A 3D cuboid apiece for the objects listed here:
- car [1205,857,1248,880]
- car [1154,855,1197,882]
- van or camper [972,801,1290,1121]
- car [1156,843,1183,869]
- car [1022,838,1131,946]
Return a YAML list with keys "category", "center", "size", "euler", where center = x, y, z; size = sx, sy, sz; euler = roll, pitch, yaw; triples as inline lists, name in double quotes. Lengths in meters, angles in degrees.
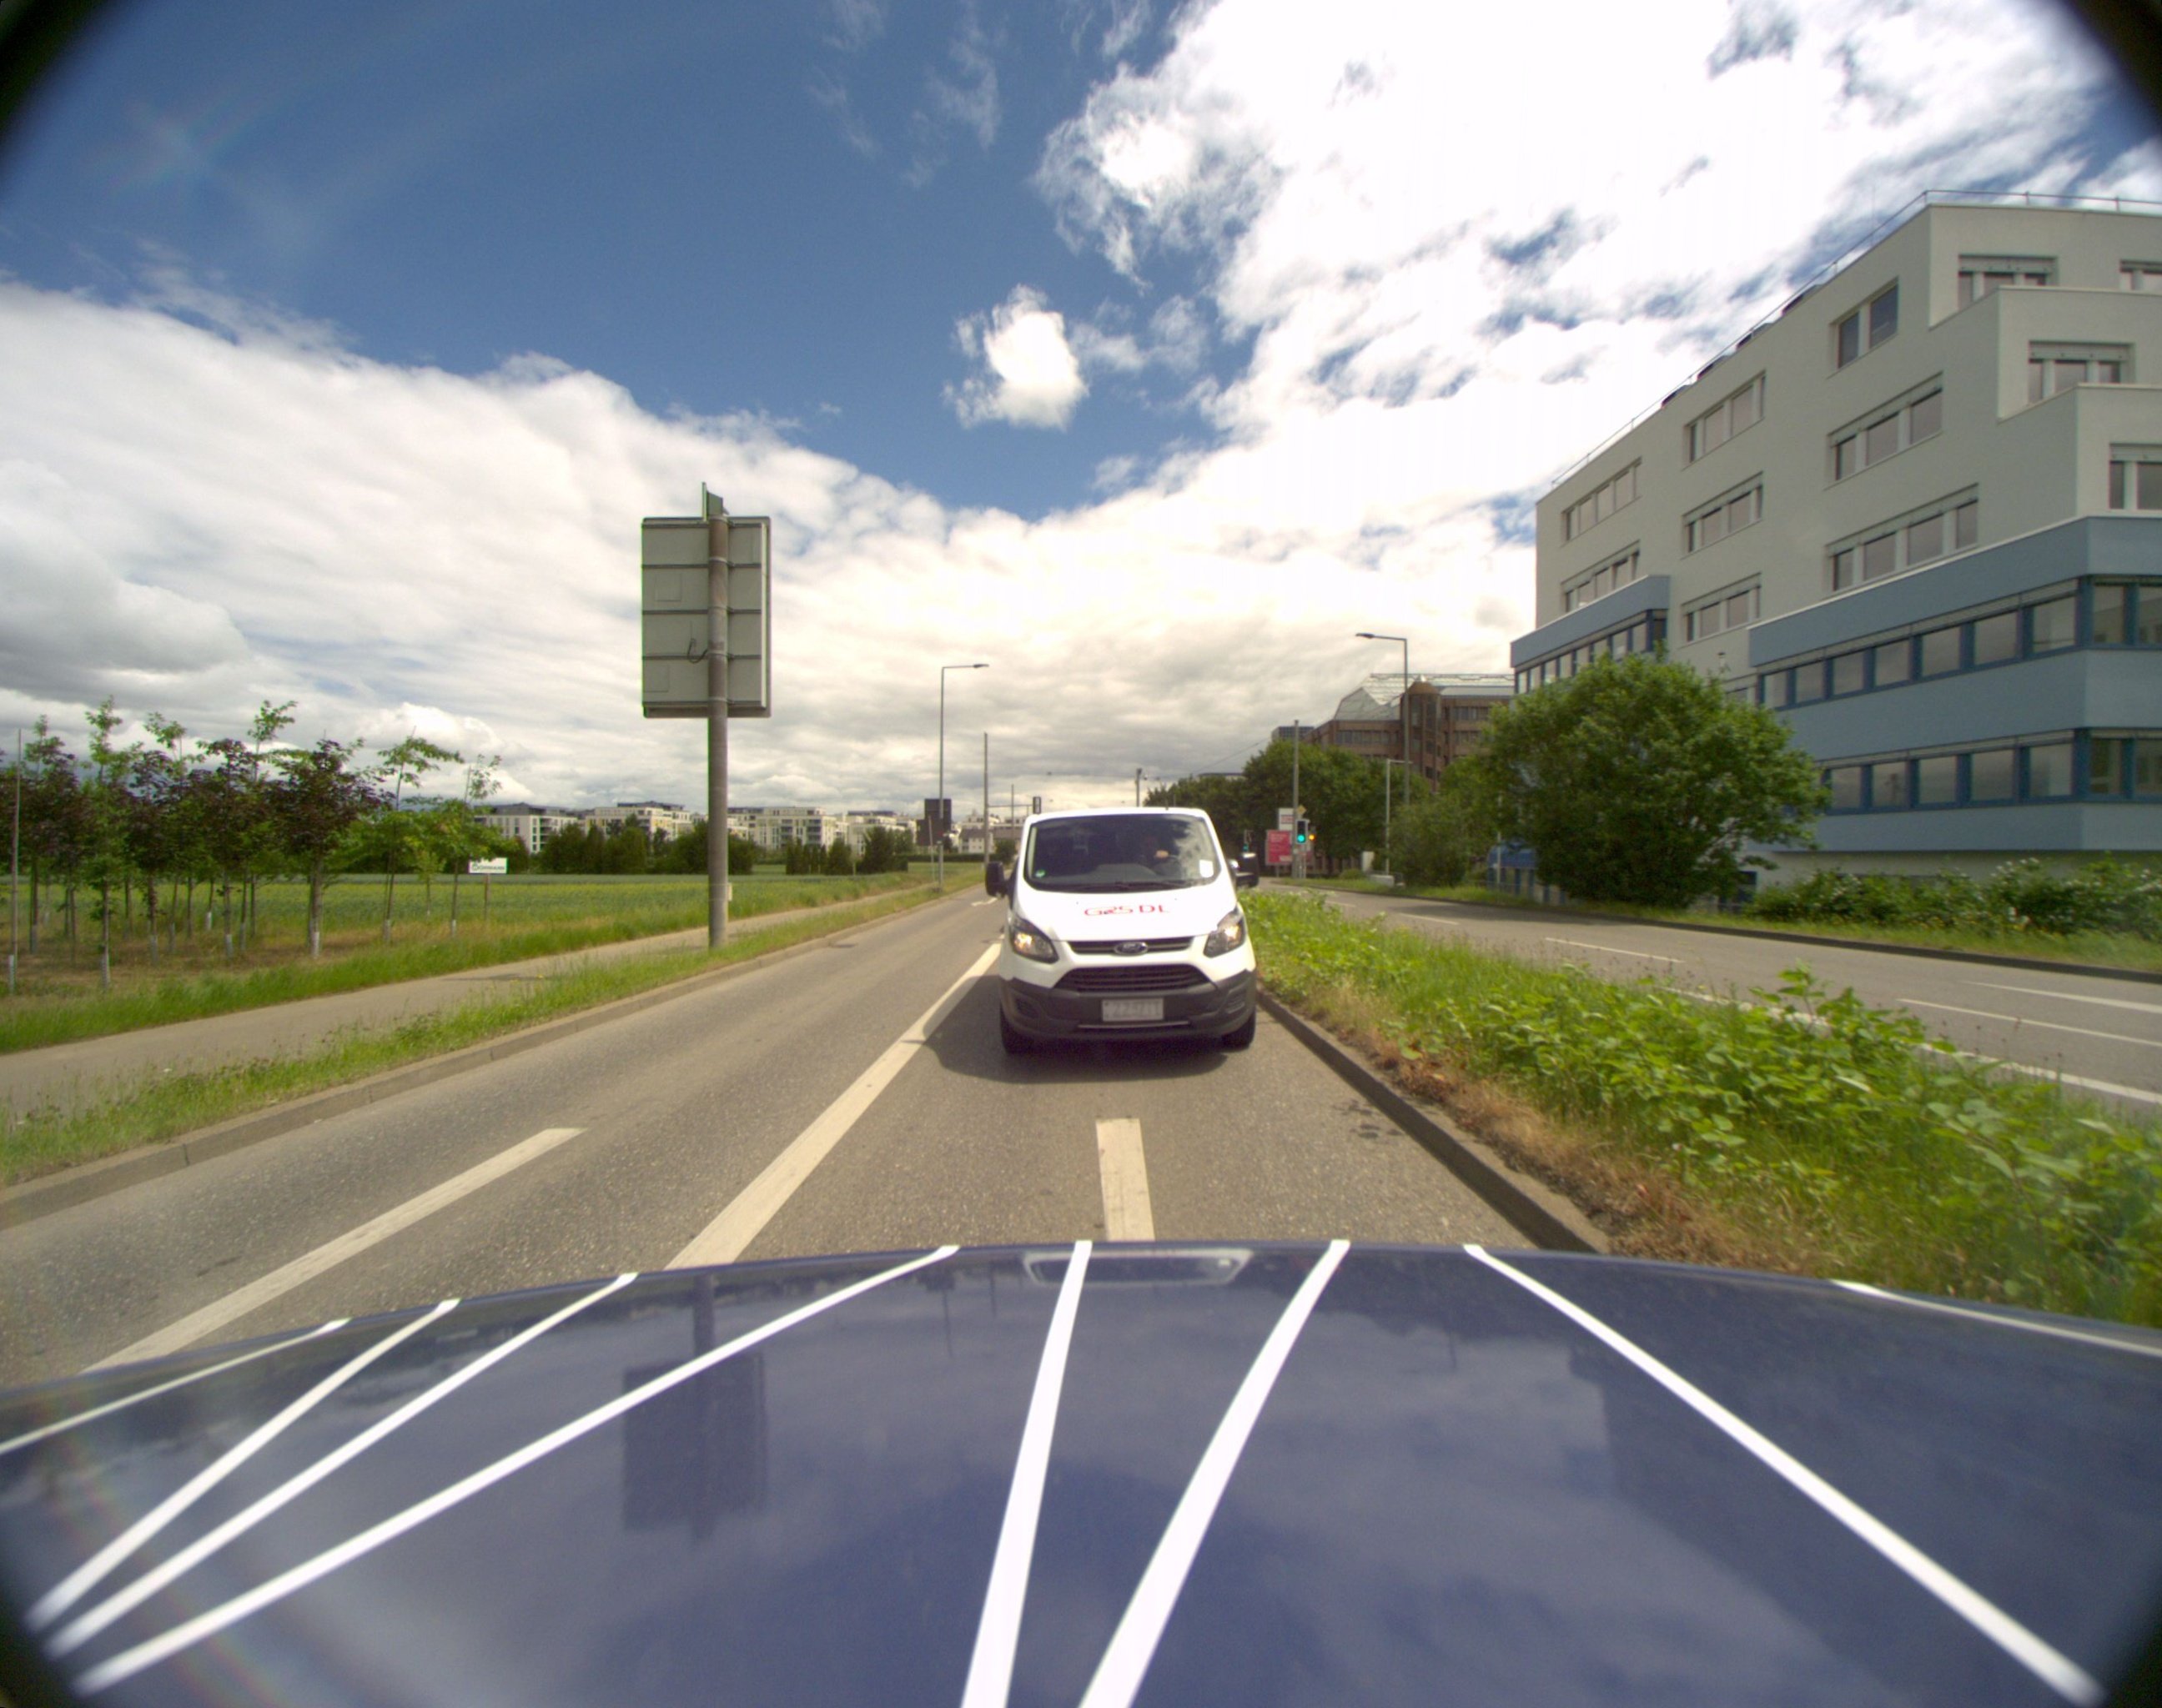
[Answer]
- category: "car"
  center: [9.241, 0.896, 48.504]
  size: [1.998, 1.346, 4.000]
  euler: [-1, 0, 1]
- category: "car"
  center: [5.633, 0.828, 45.543]
  size: [1.940, 1.508, 3.999]
  euler: [-1, 0, -2]
- category: "van or camper"
  center: [0.263, 0.672, 7.674]
  size: [1.999, 2.002, 5.798]
  euler: [0, 0, -1]
- category: "car"
  center: [8.572, 0.153, 73.832]
  size: [1.998, 2.398, 5.240]
  euler: [0, 0, 0]
- category: "car"
  center: [-0.055, 0.690, 16.131]
  size: [1.998, 2.002, 4.000]
  euler: [0, 0, 1]
